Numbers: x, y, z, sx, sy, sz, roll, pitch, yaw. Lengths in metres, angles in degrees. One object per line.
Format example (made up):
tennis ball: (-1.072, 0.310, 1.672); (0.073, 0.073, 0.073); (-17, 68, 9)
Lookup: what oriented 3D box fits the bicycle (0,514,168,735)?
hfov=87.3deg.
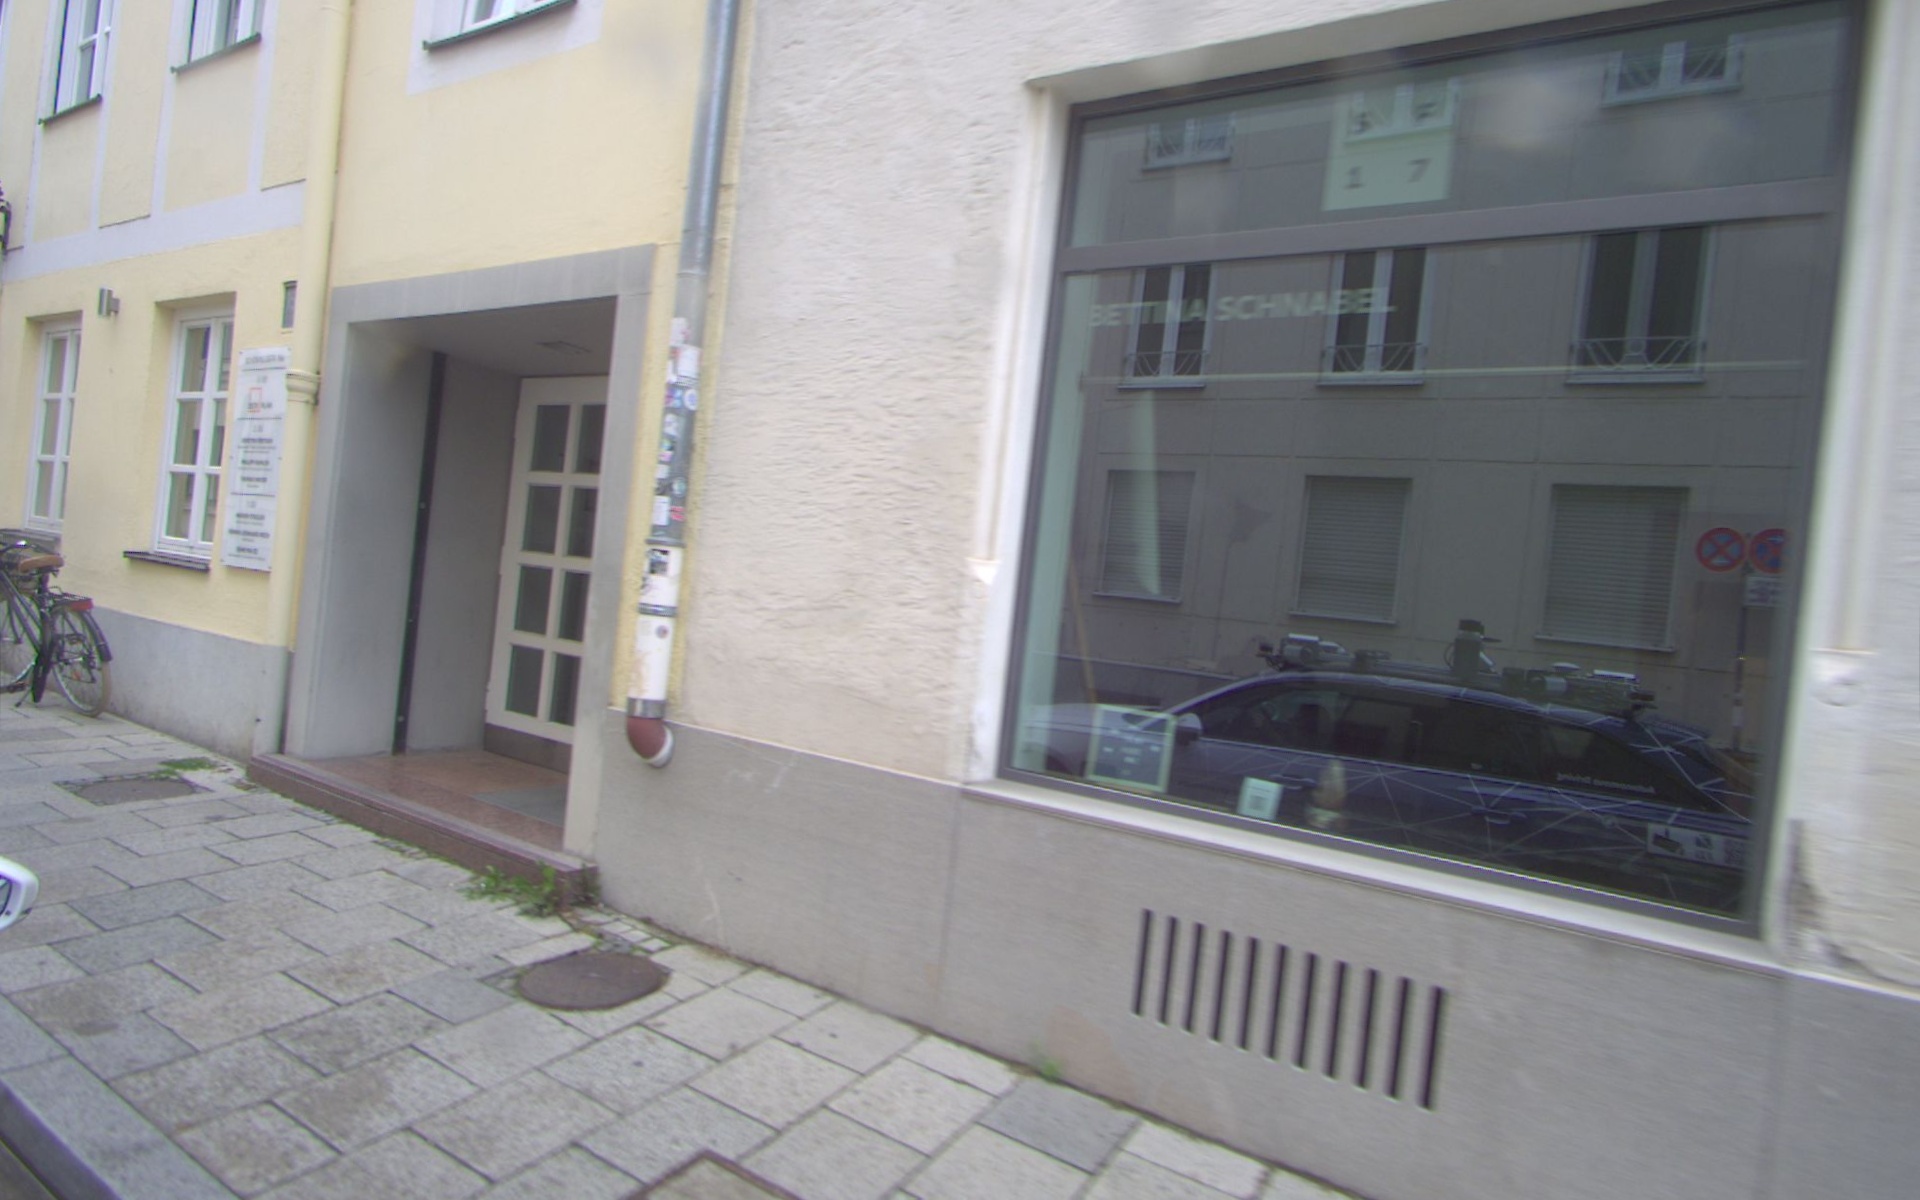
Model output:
bicycle: (-5.754, 0.089, 6.311); (1.955, 1.152, 0.565); (7, 2, 32)

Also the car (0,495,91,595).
car: (-16.814, -1.113, 16.071); (1.735, 1.458, 4.021); (9, 0, 33)
